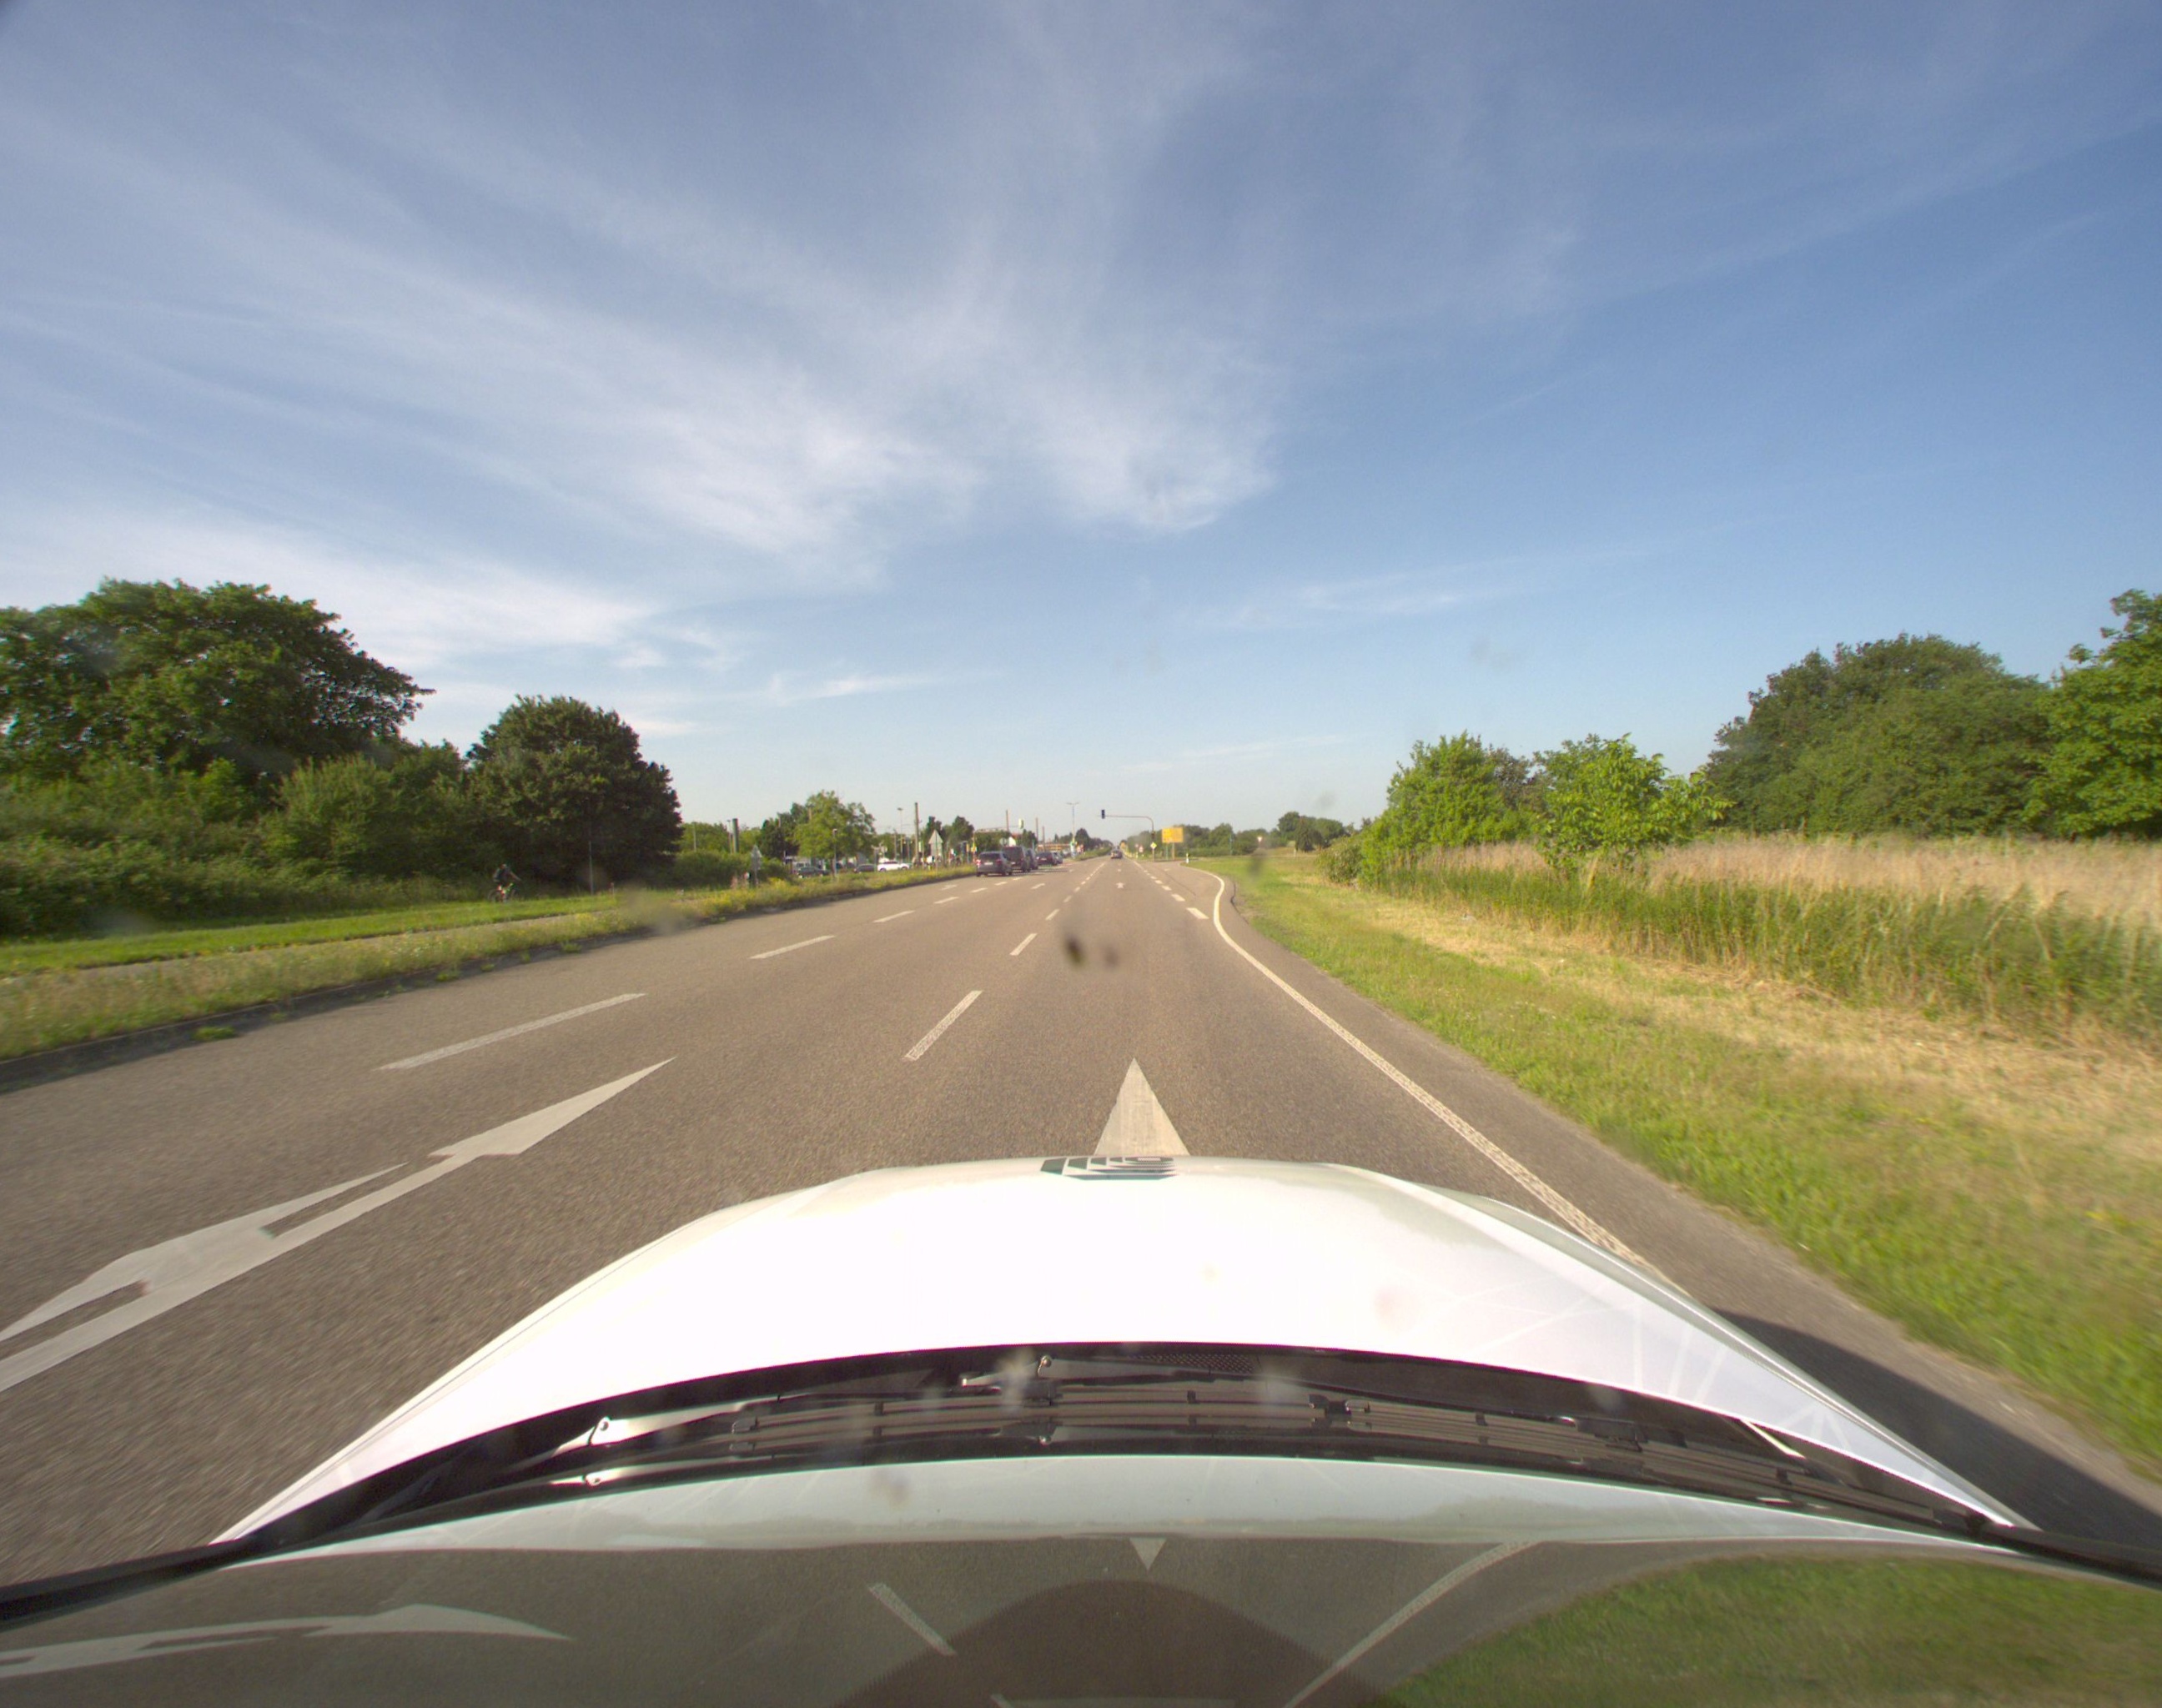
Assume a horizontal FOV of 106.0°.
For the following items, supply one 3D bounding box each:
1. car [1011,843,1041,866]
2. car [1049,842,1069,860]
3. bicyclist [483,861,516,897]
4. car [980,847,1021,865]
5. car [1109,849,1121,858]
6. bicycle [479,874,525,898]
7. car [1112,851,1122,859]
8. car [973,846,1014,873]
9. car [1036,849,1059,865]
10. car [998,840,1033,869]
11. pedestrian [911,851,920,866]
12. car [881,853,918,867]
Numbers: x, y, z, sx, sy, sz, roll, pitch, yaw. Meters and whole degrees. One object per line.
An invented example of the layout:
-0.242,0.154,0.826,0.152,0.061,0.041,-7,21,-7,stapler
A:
-4.297,0.037,64.228,1.762,1.679,4.524,-2,0,3,car
-2.446,-0.366,92.484,1.820,2.013,4.005,-2,0,4,car
-22.852,0.969,32.036,0.465,1.389,1.048,-2,0,2,bicyclist
-10.088,0.250,101.767,4.801,2.014,2.001,-2,-2,2,car
6.092,-0.108,145.507,1.985,1.552,4.004,-2,0,3,car
-22.823,1.249,32.124,0.527,0.878,1.706,-2,0,2,bicycle
7.704,0.128,173.674,1.985,1.552,4.004,-2,0,3,car
-5.193,0.291,48.934,1.725,1.456,4.524,-2,0,3,car
-3.223,0.285,79.394,1.762,1.471,4.019,-2,0,3,car
-4.464,0.019,56.017,1.725,1.855,4.524,-2,0,3,car
-18.997,0.554,93.364,0.913,1.706,1.066,0,-1,-3,pedestrian
-22.090,0.760,99.099,3.971,1.662,1.888,0,-1,2,car
